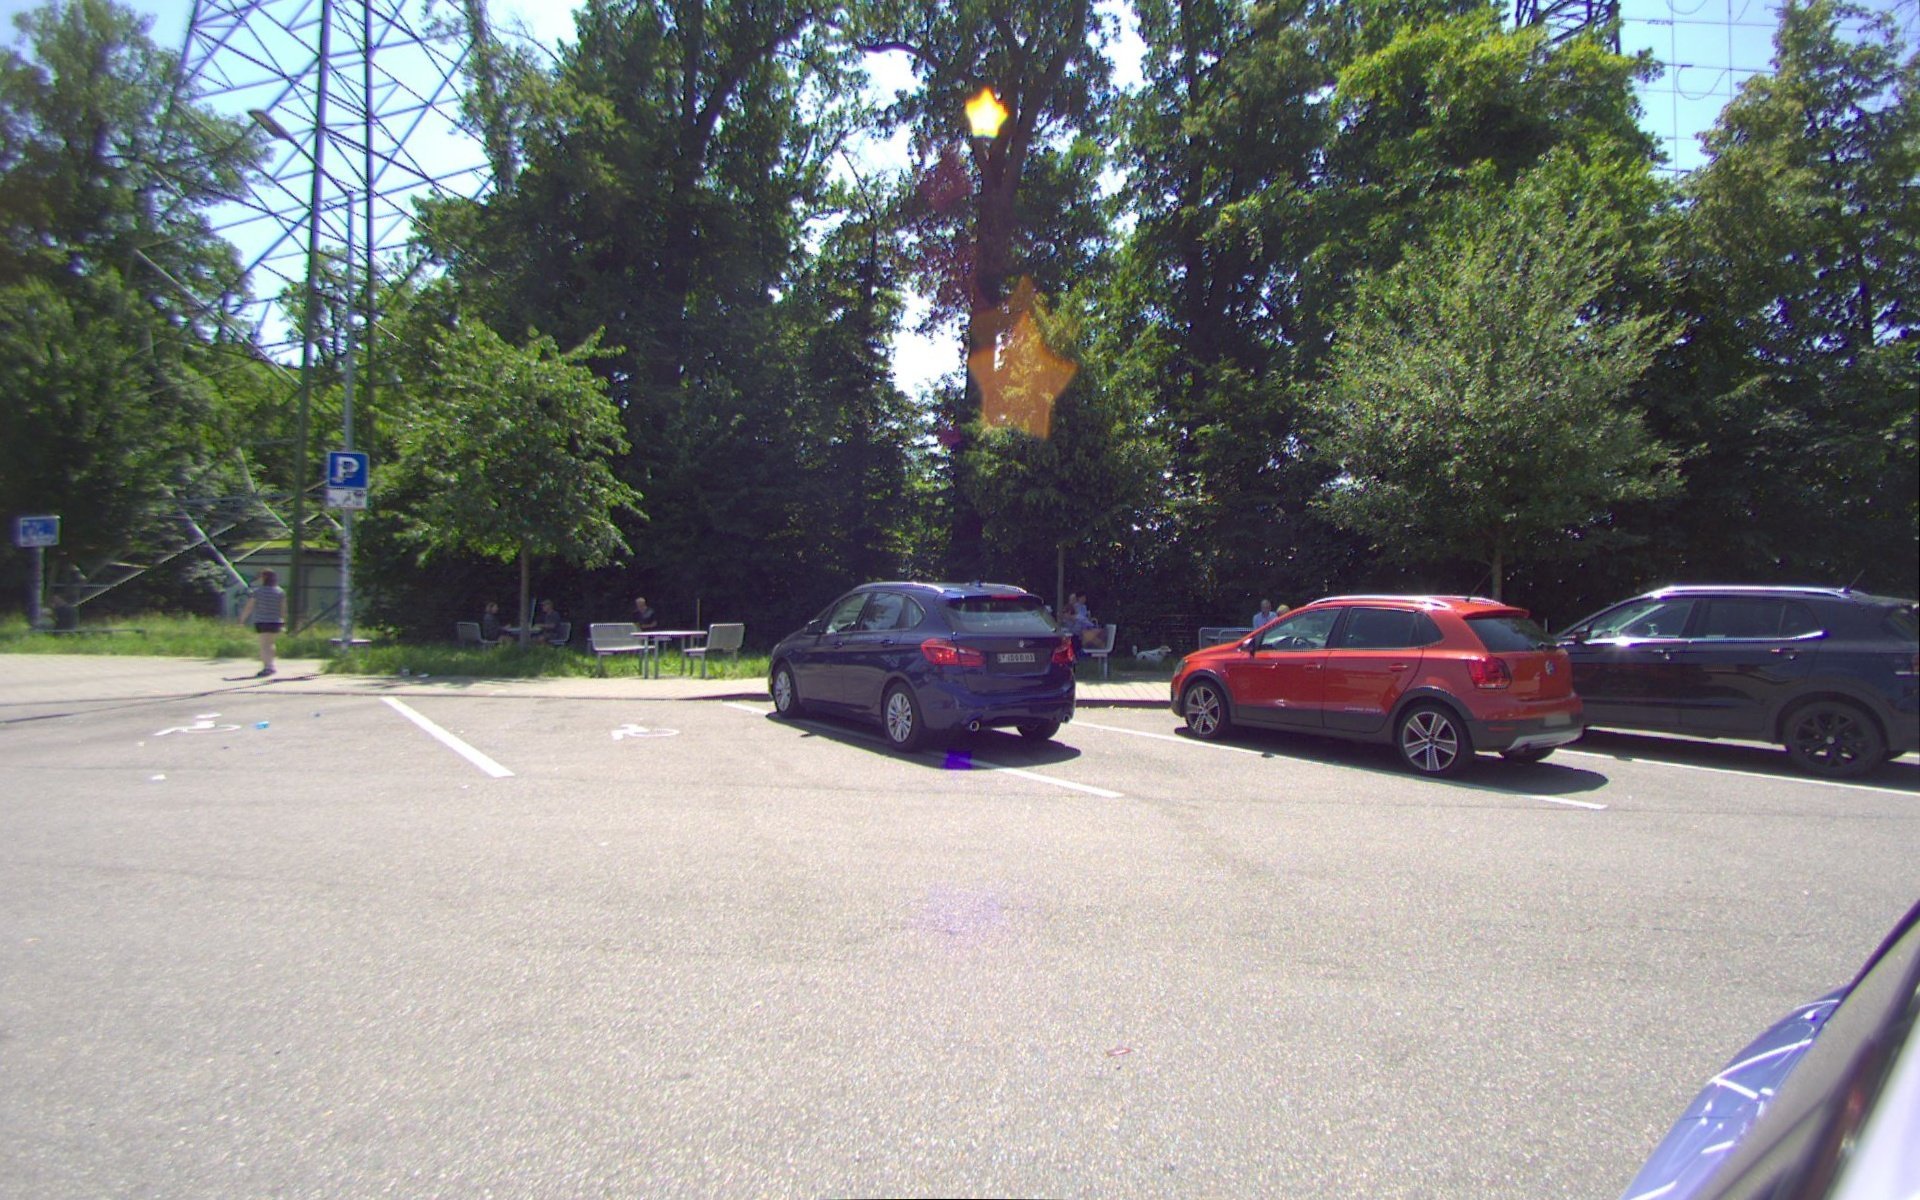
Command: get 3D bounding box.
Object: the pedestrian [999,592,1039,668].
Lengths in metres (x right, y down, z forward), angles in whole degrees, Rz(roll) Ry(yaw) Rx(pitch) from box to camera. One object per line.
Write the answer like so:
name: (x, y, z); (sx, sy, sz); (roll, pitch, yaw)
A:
pedestrian: (0.998, 0.491, 17.127); (0.586, 1.261, 0.445); (0, 0, 16)

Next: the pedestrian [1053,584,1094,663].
pedestrian: (2.366, 0.475, 21.152); (0.635, 1.625, 0.572); (0, 0, -35)

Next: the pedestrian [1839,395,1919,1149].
pedestrian: (2.891, 0.452, 2.411); (0.800, 1.974, 0.919); (0, 0, 6)

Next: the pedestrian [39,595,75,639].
pedestrian: (-20.943, 0.389, 23.471); (0.452, 0.987, 0.447); (0, 0, -2)

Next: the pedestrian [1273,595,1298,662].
pedestrian: (5.779, 0.499, 17.964); (0.350, 1.180, 0.384); (0, 0, 8)

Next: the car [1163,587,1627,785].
car: (3.889, 0.630, 9.663); (1.619, 1.487, 3.830); (0, 0, -33)

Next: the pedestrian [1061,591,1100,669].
pedestrian: (2.011, 0.489, 16.870); (0.586, 1.261, 0.498); (0, 0, 16)

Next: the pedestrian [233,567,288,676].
pedestrian: (-11.077, 0.327, 16.045); (0.674, 1.670, 0.715); (0, 0, -32)

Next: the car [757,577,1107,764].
car: (-0.532, 0.546, 10.802); (1.714, 1.572, 4.347); (0, 1, -33)

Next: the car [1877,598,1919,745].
car: (10.906, 0.700, 9.024); (1.620, 1.420, 3.826); (0, 0, -37)

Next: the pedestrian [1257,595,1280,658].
pedestrian: (5.828, 0.488, 19.140); (0.350, 1.180, 0.384); (0, 0, 8)

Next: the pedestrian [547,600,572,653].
pedestrian: (-9.337, 0.608, 23.612); (0.452, 1.209, 0.447); (0, 0, -34)

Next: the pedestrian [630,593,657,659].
pedestrian: (-6.678, 0.540, 21.360); (0.438, 1.363, 0.462); (0, 0, -5)

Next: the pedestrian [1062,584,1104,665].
pedestrian: (2.492, 0.481, 20.496); (0.635, 1.625, 0.572); (0, 0, -35)

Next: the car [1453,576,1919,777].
car: (7.105, 0.589, 9.879); (1.620, 1.575, 3.826); (0, 0, -37)

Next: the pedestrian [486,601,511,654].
pedestrian: (-10.425, 0.607, 22.871); (0.452, 1.182, 0.447); (0, 0, -34)
